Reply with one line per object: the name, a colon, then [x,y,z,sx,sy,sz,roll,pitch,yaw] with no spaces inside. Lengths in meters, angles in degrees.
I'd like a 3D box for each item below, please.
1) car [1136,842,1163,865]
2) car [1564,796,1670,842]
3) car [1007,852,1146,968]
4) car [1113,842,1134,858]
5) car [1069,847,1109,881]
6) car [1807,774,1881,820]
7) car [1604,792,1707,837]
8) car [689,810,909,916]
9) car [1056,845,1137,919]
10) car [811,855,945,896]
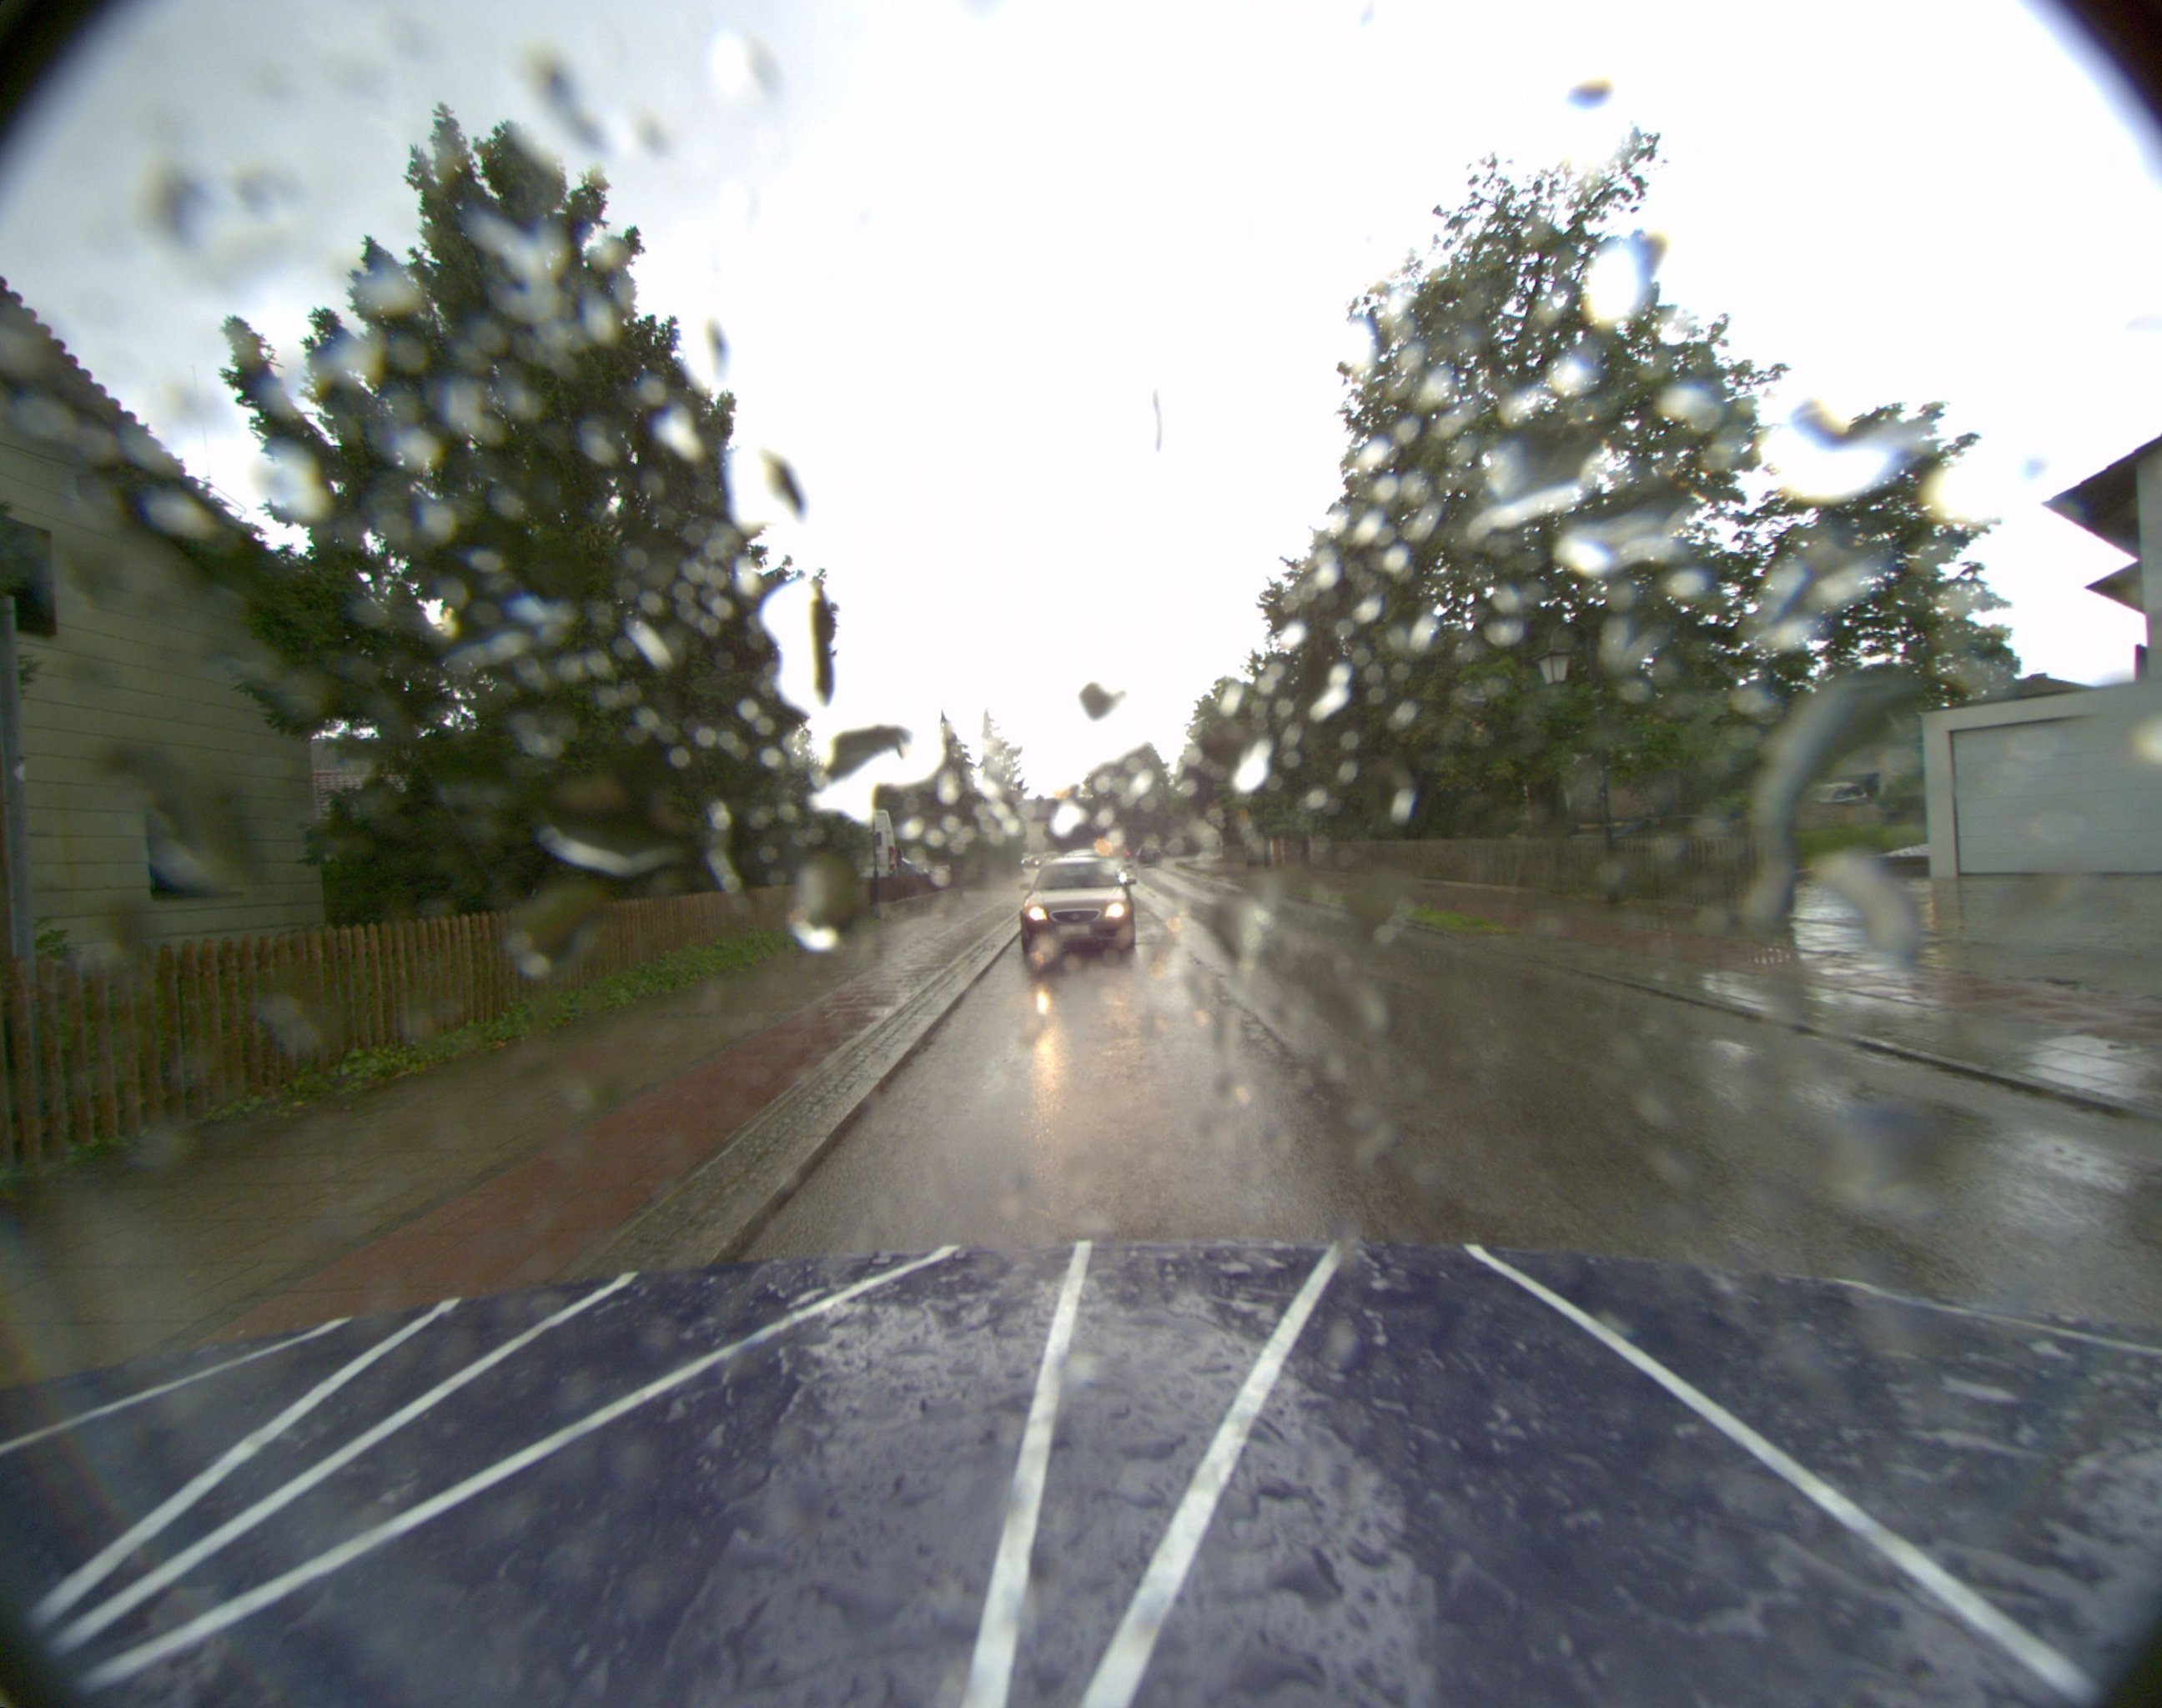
car: [4.981,-0.020,55.593,1.642,1.512,4.188,-4,0,1]
car: [25.987,-1.661,36.936,1.845,1.792,3.649,-6,0,-33]
car: [-0.027,0.786,12.772,1.872,1.512,4.188,-3,1,1]
car: [4.245,-0.406,76.031,1.785,1.457,4.374,-4,1,0]
car: [0.426,0.469,39.834,1.872,1.512,4.960,-5,1,1]
car: [40.902,-3.043,40.734,3.857,2.281,1.782,-3,1,-29]
car: [28.863,-1.954,38.264,1.845,1.792,3.649,-6,0,-33]
car: [-7.517,0.201,20.806,5.321,2.712,1.998,0,1,-8]
car: [0.417,0.660,21.056,1.872,1.603,4.960,-5,2,1]
car: [-7.244,0.757,27.498,4.443,1.413,1.829,0,1,-7]
